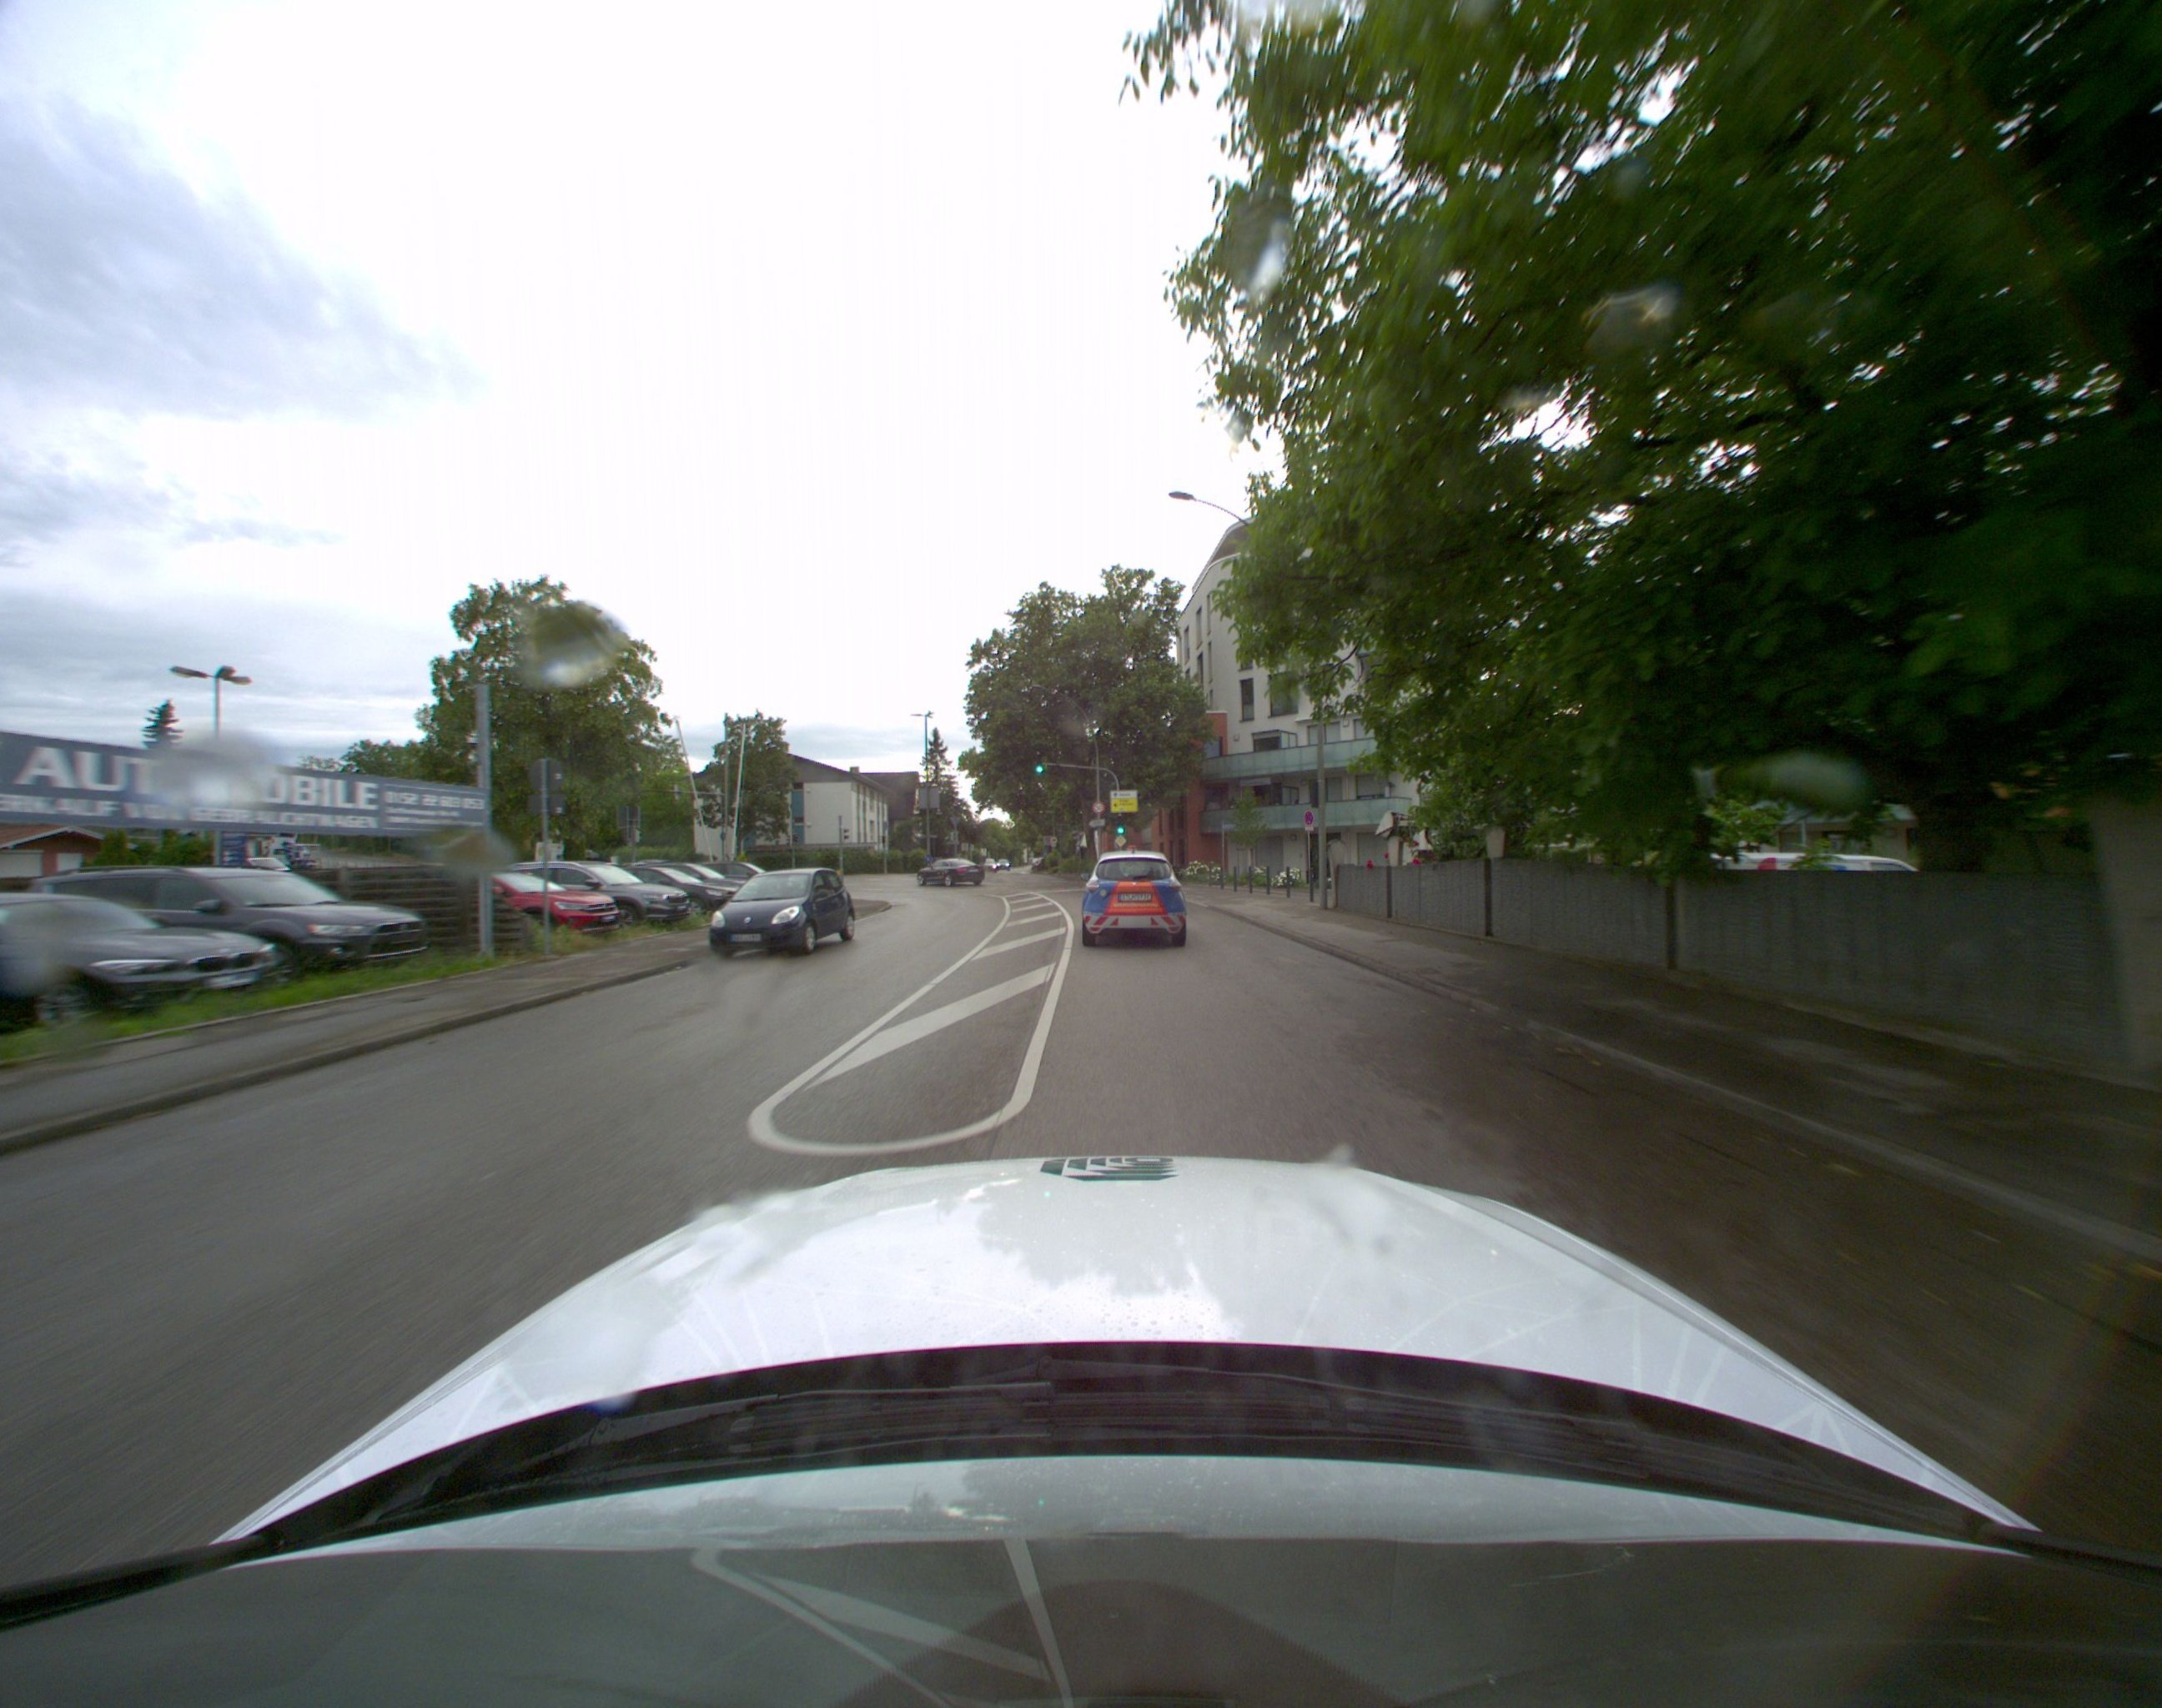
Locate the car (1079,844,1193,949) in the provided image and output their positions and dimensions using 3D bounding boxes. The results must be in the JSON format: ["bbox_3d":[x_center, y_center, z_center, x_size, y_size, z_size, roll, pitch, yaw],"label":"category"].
[{"bbox_3d":[0.875,0.637,14.715,1.740,1.581,4.000,-2,1,0],"label":"car"}]

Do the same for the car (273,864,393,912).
[{"bbox_3d":[-27.797,1.205,30.434,1.711,1.555,3.977,-1,1,-17],"label":"car"}]

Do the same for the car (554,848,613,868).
[{"bbox_3d":[-44.895,0.358,73.566,1.974,1.723,4.026,0,1,36],"label":"car"}]

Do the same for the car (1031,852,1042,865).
[{"bbox_3d":[-7.026,0.666,128.018,1.640,2.017,3.710,-1,1,-4],"label":"car"}]

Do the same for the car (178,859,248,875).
[{"bbox_3d":[-79.506,1.143,74.648,1.791,1.376,4.025,-1,0,28],"label":"car"}]

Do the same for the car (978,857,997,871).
[{"bbox_3d":[-10.082,1.057,87.512,1.940,1.452,4.289,0,-1,-7],"label":"car"}]

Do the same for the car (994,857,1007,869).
[{"bbox_3d":[-11.634,1.264,117.907,1.875,1.669,3.706,-1,0,-6],"label":"car"}]

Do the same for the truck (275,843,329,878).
[{"bbox_3d":[-59.379,0.459,62.027,5.487,2.539,2.013,1,1,36],"label":"truck"}]

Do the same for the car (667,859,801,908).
[{"bbox_3d":[-11.793,0.986,27.945,3.948,1.530,1.616,-1,1,-12],"label":"car"}]

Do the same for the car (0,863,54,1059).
[{"bbox_3d":[-11.499,0.980,6.313,4.334,1.691,2.058,-1,0,-1],"label":"car"}]

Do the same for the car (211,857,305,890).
[{"bbox_3d":[-52.331,1.239,51.820,3.970,1.994,2.002,0,1,3],"label":"car"}]

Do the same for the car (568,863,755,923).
[{"bbox_3d":[-10.994,1.003,21.536,3.973,1.441,1.804,-1,0,1],"label":"car"}]

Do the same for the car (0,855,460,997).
[{"bbox_3d":[-11.653,0.916,11.391,4.334,1.690,1.958,-1,0,-1],"label":"car"}]

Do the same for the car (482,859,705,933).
[{"bbox_3d":[-11.007,0.924,18.589,3.973,1.544,1.804,-1,0,1],"label":"car"}]

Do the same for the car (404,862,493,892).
[{"bbox_3d":[-34.171,1.255,44.139,1.749,1.522,3.997,0,-2,-1],"label":"car"}]

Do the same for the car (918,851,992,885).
[{"bbox_3d":[-6.500,0.668,41.826,2.010,1.574,3.954,-1,1,-40],"label":"car"}]

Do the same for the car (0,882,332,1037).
[{"bbox_3d":[-11.462,1.122,9.074,4.334,1.432,1.958,-1,0,-1],"label":"car"}]

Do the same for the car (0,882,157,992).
[{"bbox_3d":[-15.679,1.207,10.355,1.893,1.420,5.216,-2,0,-1],"label":"car"}]

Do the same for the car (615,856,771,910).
[{"bbox_3d":[-11.809,0.871,24.996,3.935,1.530,1.691,0,1,-1],"label":"car"}]

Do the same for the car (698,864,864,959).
[{"bbox_3d":[-5.353,0.950,15.038,1.621,1.433,3.683,-2,0,0],"label":"car"}]

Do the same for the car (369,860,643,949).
[{"bbox_3d":[-10.937,0.923,15.707,3.973,1.544,1.804,-1,0,1],"label":"car"}]

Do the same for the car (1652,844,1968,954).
[{"bbox_3d":[13.336,0.772,15.112,4.110,1.870,2.000,0,1,0],"label":"car"}]
